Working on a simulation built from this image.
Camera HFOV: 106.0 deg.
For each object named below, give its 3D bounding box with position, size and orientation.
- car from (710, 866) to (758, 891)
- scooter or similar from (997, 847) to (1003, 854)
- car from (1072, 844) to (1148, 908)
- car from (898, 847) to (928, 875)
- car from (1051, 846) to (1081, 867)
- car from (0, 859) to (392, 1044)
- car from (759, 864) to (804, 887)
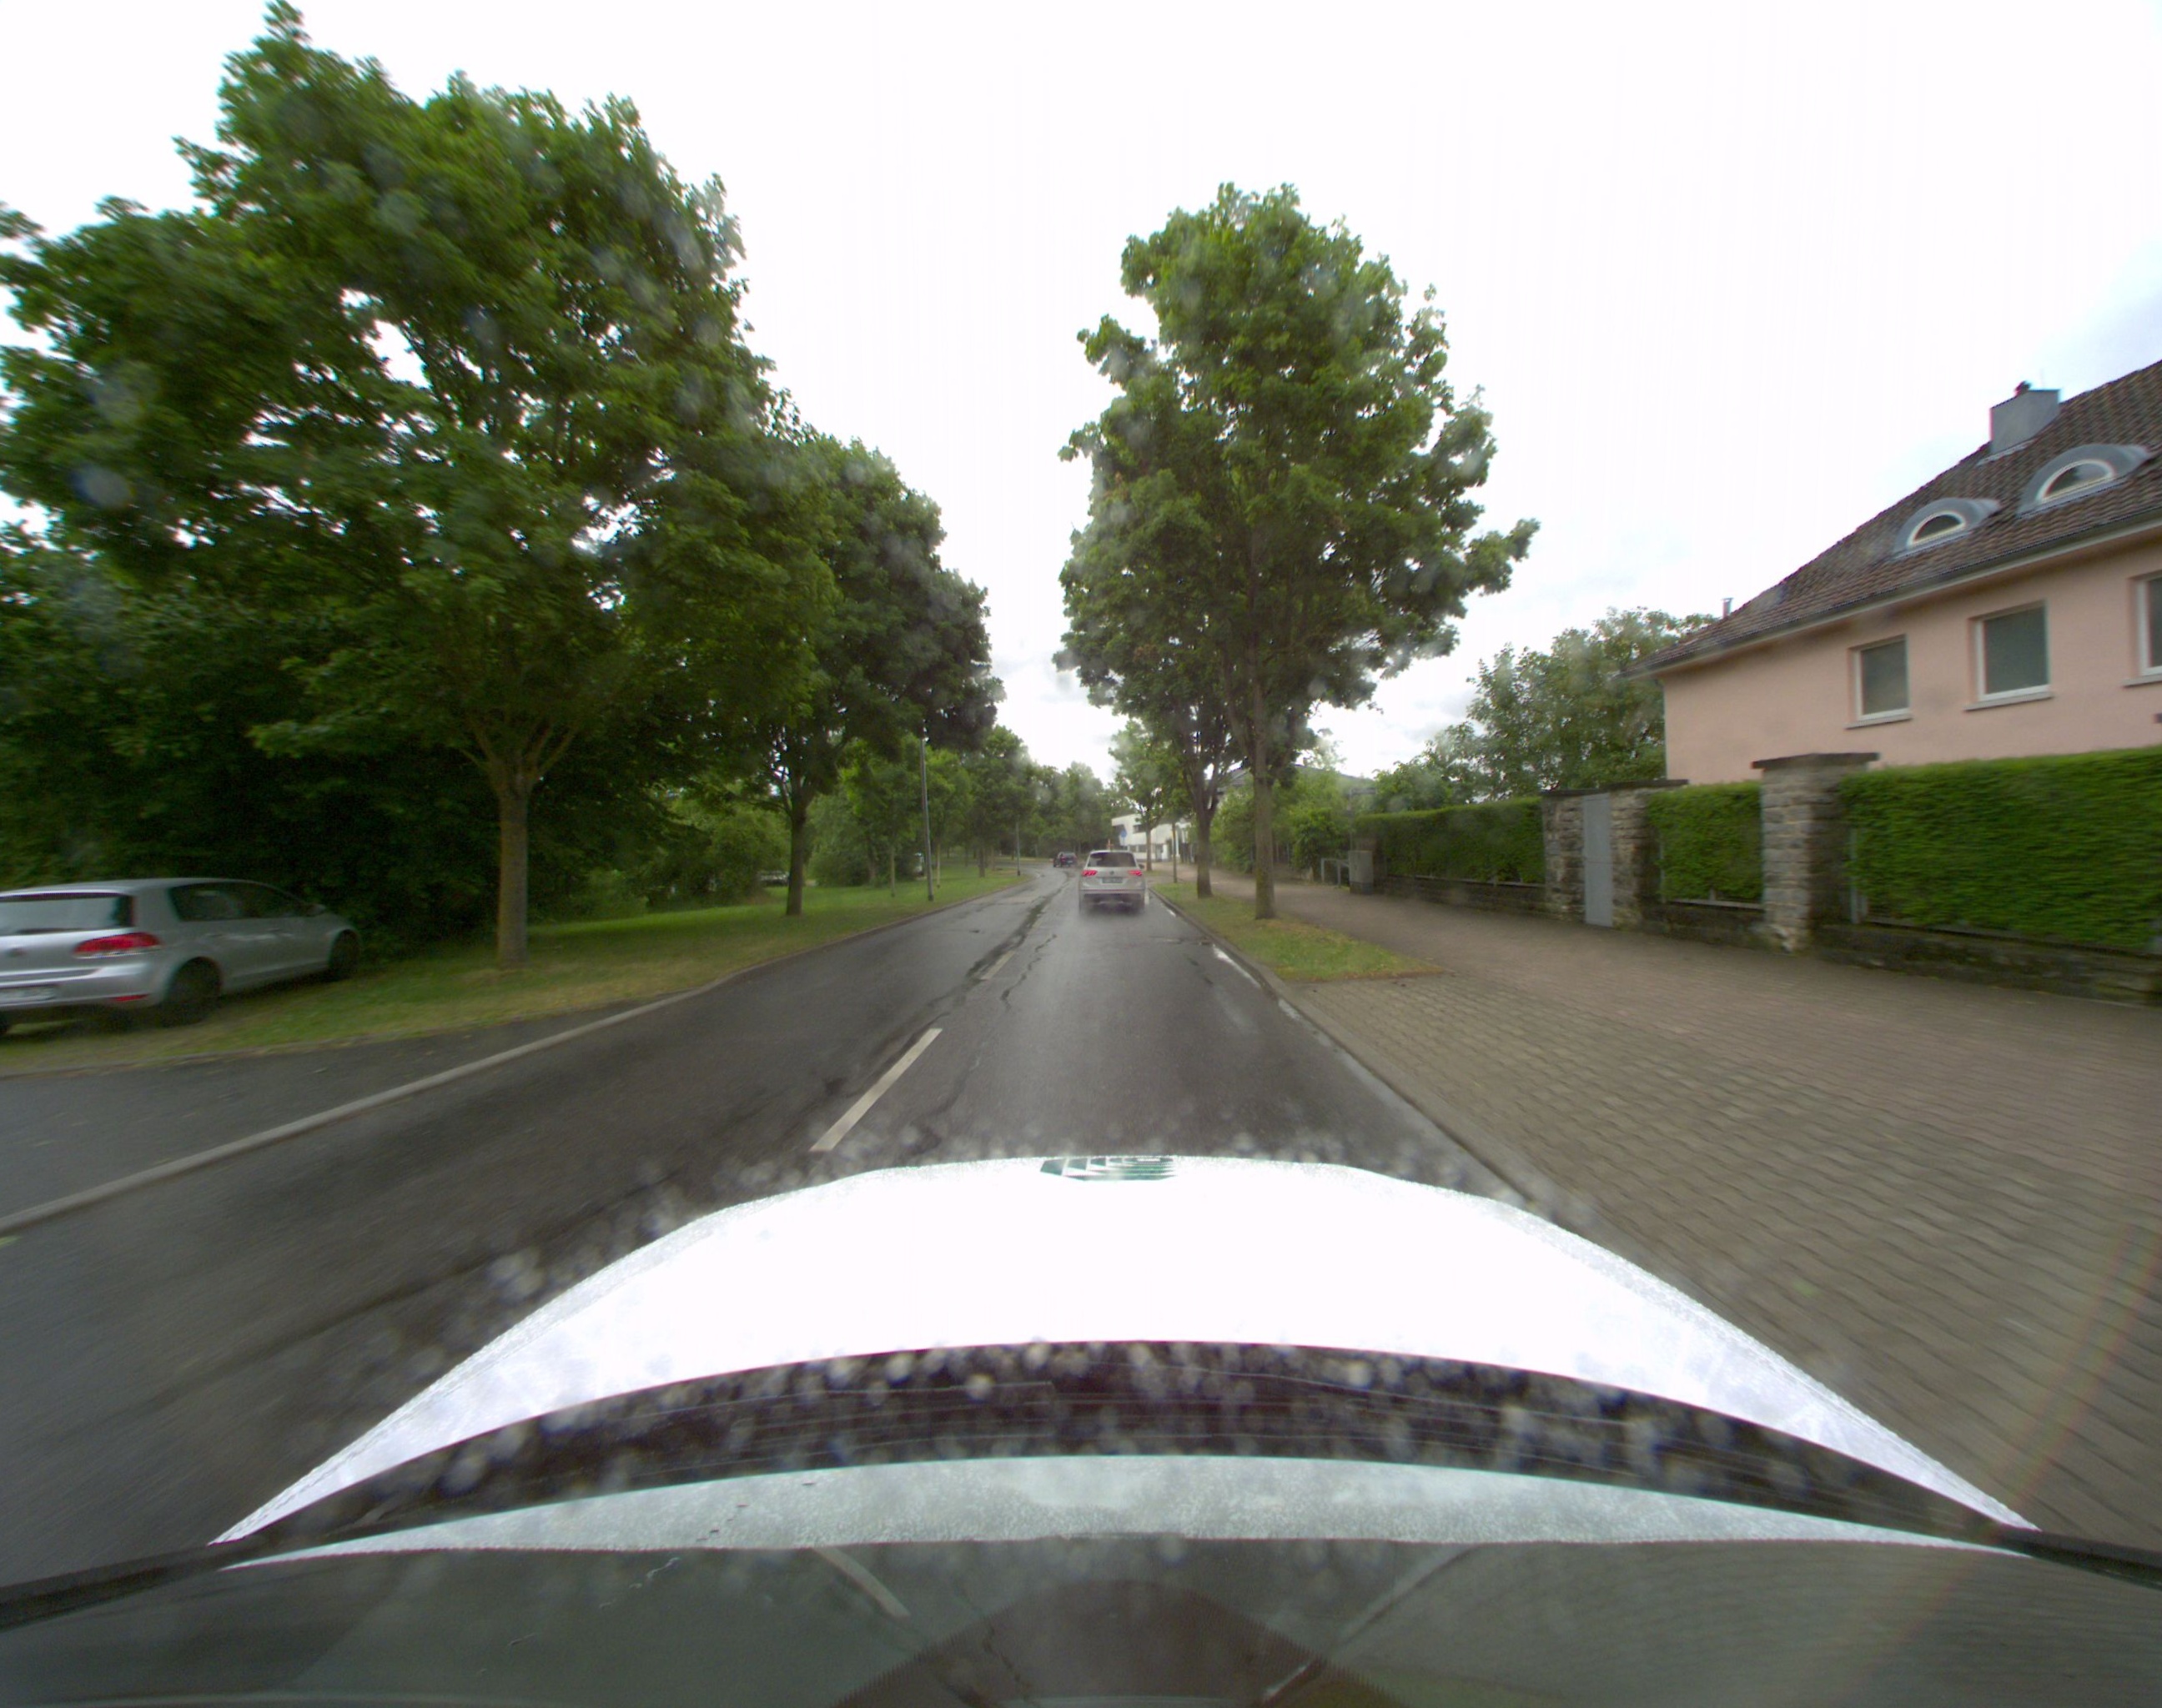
[{"bbox_3d":[-24.854,1.714,58.440,1.850,1.581,4.344,-3,0,-5],"label":"car"},{"bbox_3d":[-12.584,-0.521,126.560,0.465,1.146,1.290,-4,2,-25],"label":"scooter or similar"},{"bbox_3d":[0.856,0.571,23.633,1.966,1.653,4.179,-1,0,2],"label":"car"},{"bbox_3d":[-14.410,0.568,70.140,2.127,1.985,5.458,-4,4,-9],"label":"car"},{"bbox_3d":[-1.525,0.223,79.848,1.906,2.013,3.921,0,0,-17],"label":"car"},{"bbox_3d":[-10.142,0.899,9.267,1.885,1.429,4.194,-3,3,-16],"label":"car"},{"bbox_3d":[-21.430,1.546,58.502,1.788,1.537,4.992,-3,-1,-6],"label":"car"}]
